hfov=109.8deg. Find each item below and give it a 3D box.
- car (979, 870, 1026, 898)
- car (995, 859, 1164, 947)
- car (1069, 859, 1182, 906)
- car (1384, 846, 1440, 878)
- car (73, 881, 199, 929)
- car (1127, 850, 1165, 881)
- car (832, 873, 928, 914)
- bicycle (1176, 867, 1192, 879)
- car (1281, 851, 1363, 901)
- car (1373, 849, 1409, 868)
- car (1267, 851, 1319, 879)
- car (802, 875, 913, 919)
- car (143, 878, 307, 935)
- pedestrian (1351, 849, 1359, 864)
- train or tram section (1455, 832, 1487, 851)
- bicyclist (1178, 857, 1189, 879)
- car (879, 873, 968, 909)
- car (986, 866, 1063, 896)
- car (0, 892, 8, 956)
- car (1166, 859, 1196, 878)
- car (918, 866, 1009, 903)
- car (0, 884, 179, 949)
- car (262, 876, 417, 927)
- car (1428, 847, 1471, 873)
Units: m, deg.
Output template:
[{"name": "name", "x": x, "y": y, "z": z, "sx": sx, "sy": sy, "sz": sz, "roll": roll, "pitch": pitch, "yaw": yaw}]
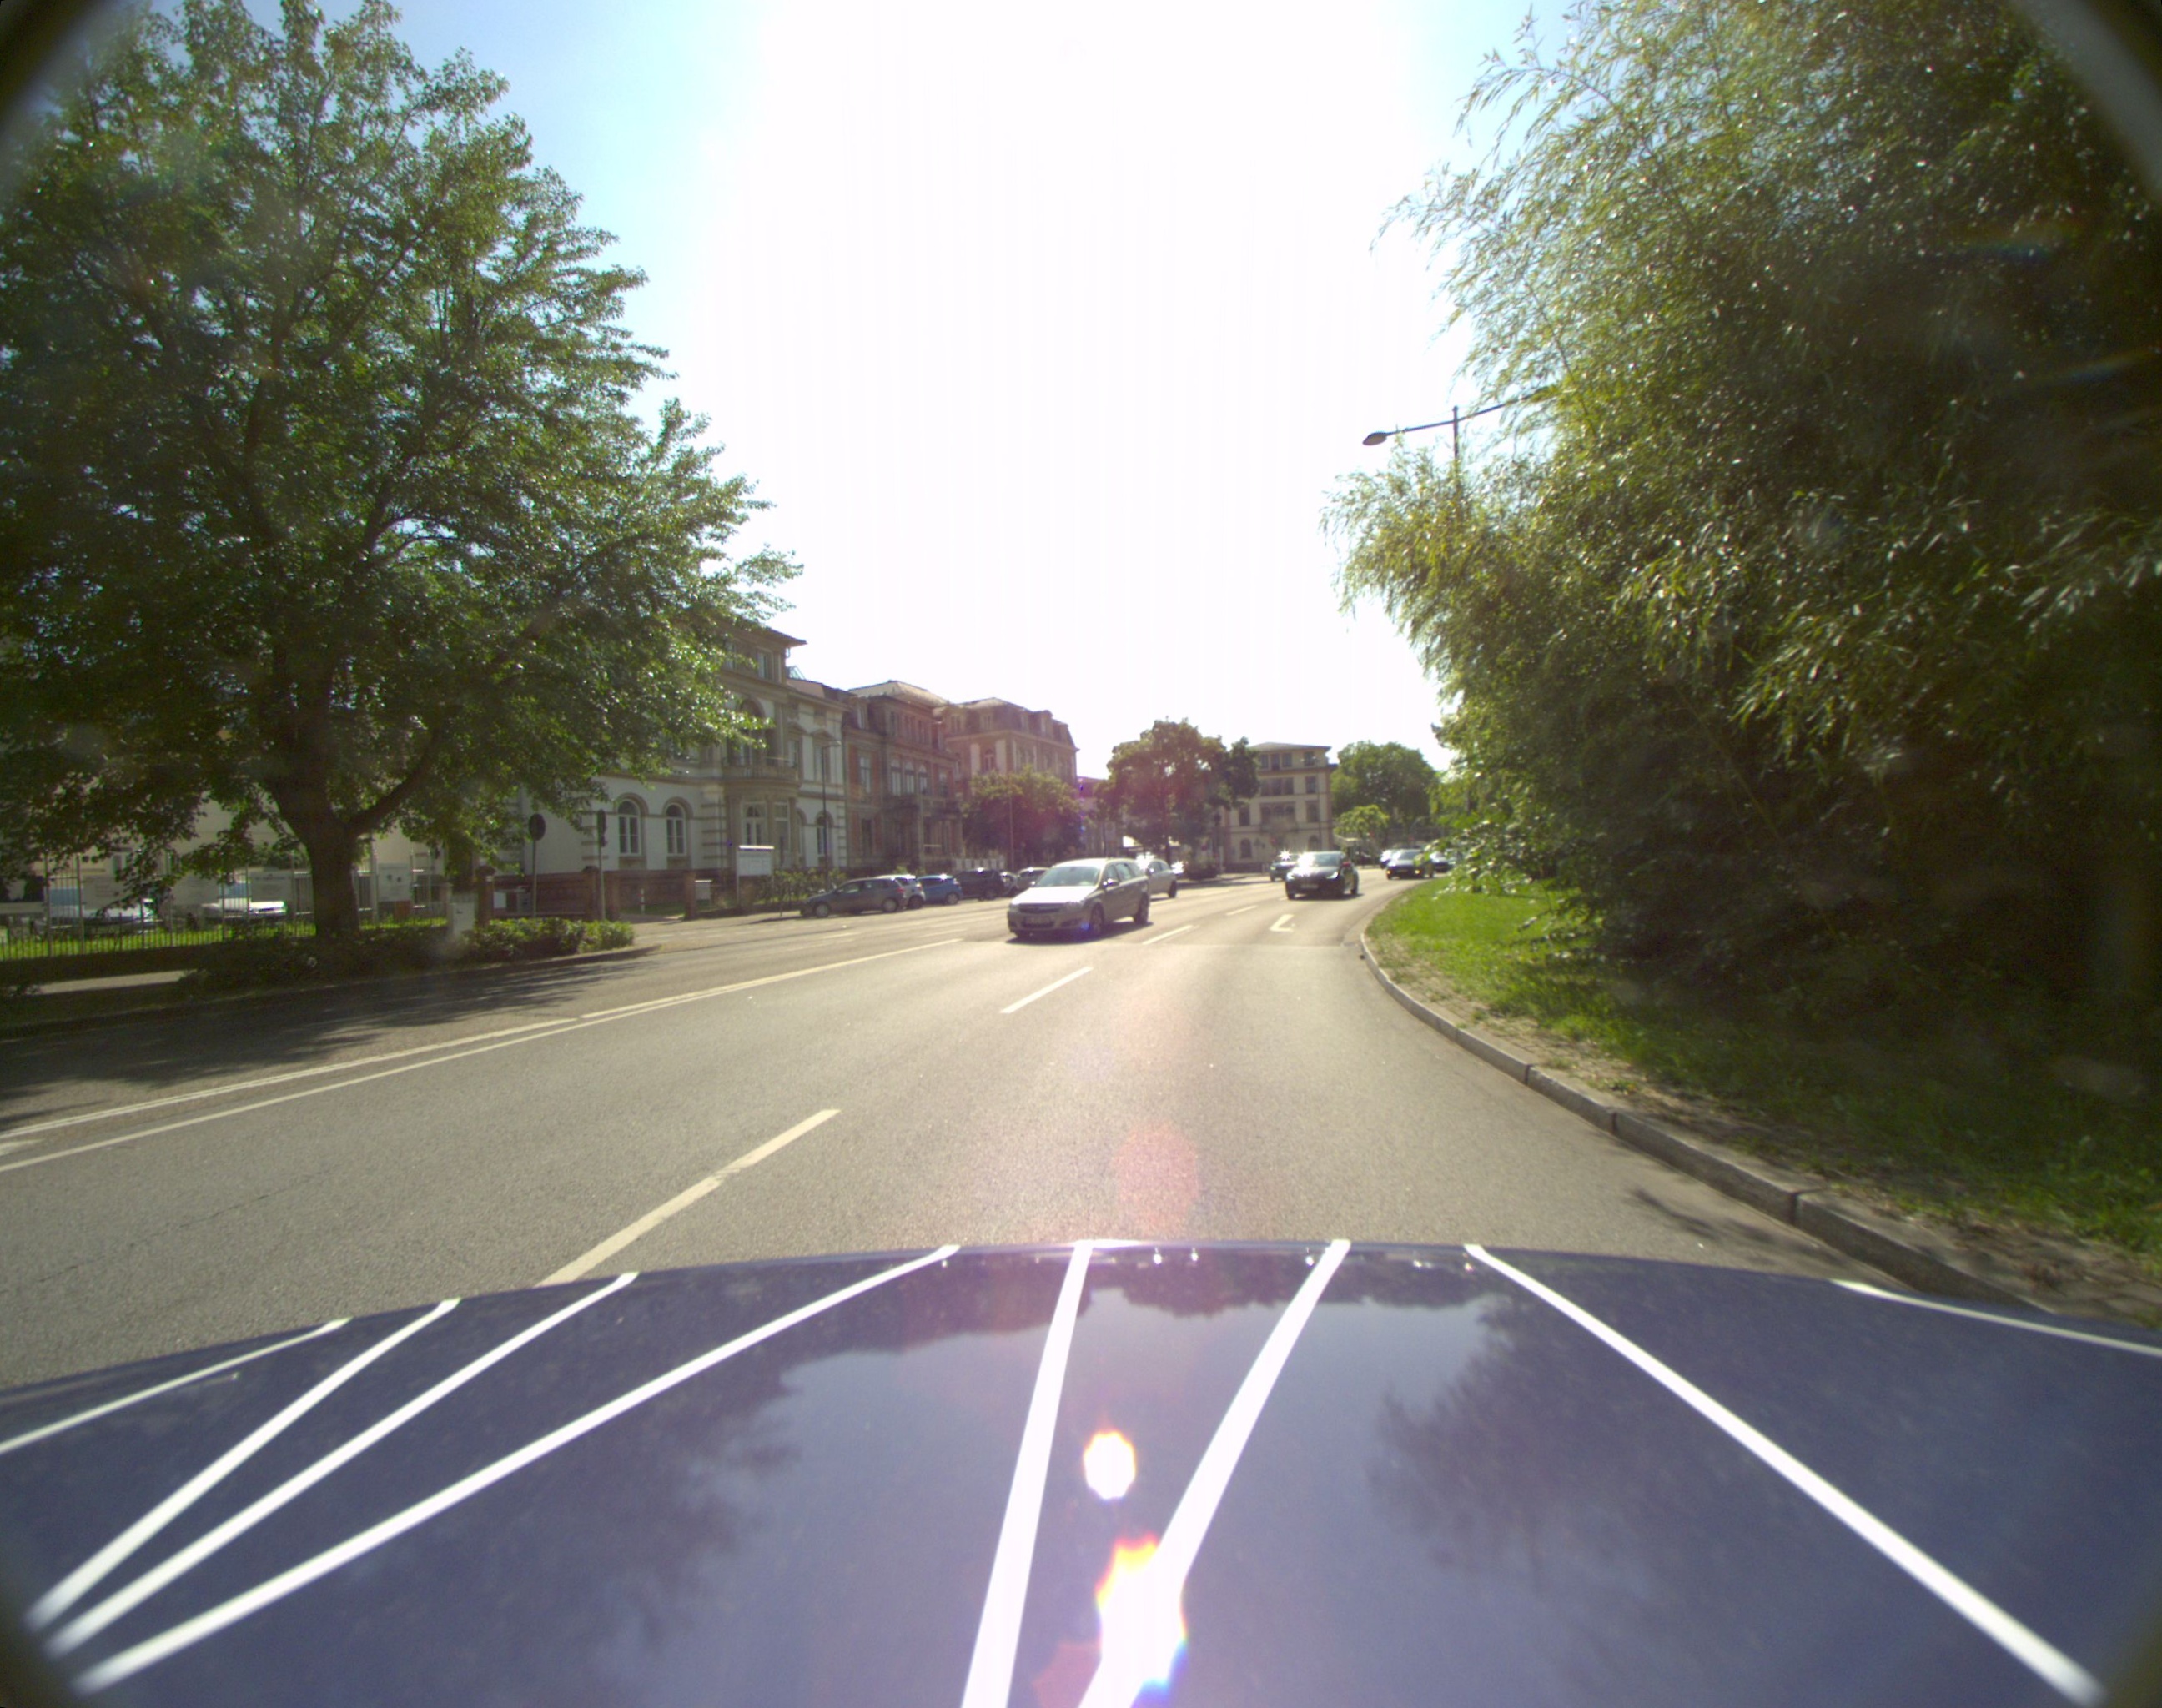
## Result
[{"name": "car", "x": -4.477, "y": 1.703, "z": 43.429, "sx": 2.292, "sy": 1.474, "sz": 1.199, "roll": -3, "pitch": -1, "yaw": -28}, {"name": "car", "x": 0.161, "y": 0.901, "z": 15.821, "sx": 1.716, "sy": 1.491, "sz": 4.498, "roll": -2, "pitch": 0, "yaw": 25}, {"name": "car", "x": 1.668, "y": 0.936, "z": 26.609, "sx": 1.995, "sy": 1.429, "sz": 4.761, "roll": -2, "pitch": -1, "yaw": 29}, {"name": "car", "x": 16.872, "y": 0.383, "z": 38.641, "sx": 1.787, "sy": 1.484, "sz": 4.096, "roll": -1, "pitch": 0, "yaw": 35}, {"name": "car", "x": -33.151, "y": 1.784, "z": 26.652, "sx": 4.053, "sy": 1.500, "sz": 1.869, "roll": -2, "pitch": 0, "yaw": 26}, {"name": "car", "x": 5.786, "y": 0.990, "z": 67.140, "sx": 1.996, "sy": 2.588, "sz": 5.326, "roll": -3, "pitch": -1, "yaw": 19}, {"name": "car", "x": -8.781, "y": 1.707, "z": 33.136, "sx": 3.815, "sy": 1.502, "sz": 1.711, "roll": -3, "pitch": -1, "yaw": -22}, {"name": "bicycle", "x": 7.991, "y": 1.448, "z": 58.896, "sx": 0.592, "sy": 0.849, "sz": 1.748, "roll": -3, "pitch": -1, "yaw": 26}, {"name": "car", "x": 8.006, "y": 0.667, "z": 24.973, "sx": 1.788, "sy": 1.443, "sz": 4.288, "roll": -1, "pitch": 0, "yaw": 28}, {"name": "car", "x": 25.572, "y": 0.384, "z": 62.621, "sx": 1.787, "sy": 1.452, "sz": 4.096, "roll": -1, "pitch": 0, "yaw": 37}, {"name": "car", "x": 12.490, "y": 0.613, "z": 44.575, "sx": 1.787, "sy": 1.503, "sz": 4.289, "roll": -1, "pitch": 0, "yaw": 32}, {"name": "car", "x": -8.976, "y": 1.705, "z": 30.612, "sx": 4.110, "sy": 1.452, "sz": 1.825, "roll": -3, "pitch": -1, "yaw": -18}, {"name": "car", "x": -22.964, "y": 1.408, "z": 20.374, "sx": 4.044, "sy": 1.328, "sz": 1.864, "roll": -2, "pitch": 0, "yaw": 26}, {"name": "pedestrian", "x": 33.904, "y": 0.279, "z": 94.017, "sx": 0.725, "sy": 1.794, "sz": 0.653, "roll": -3, "pitch": 0, "yaw": 15}, {"name": "train or tram section", "x": 75.663, "y": -2.320, "z": 147.683, "sx": 2.731, "sy": 3.248, "sz": 8.743, "roll": -3, "pitch": -1, "yaw": 8}, {"name": "bicyclist", "x": 7.956, "y": 1.080, "z": 58.883, "sx": 0.592, "sy": 1.596, "sz": 0.685, "roll": -3, "pitch": 0, "yaw": 26}, {"name": "car", "x": -7.478, "y": 1.722, "z": 36.128, "sx": 3.816, "sy": 1.433, "sz": 1.711, "roll": -3, "pitch": -1, "yaw": -25}, {"name": "car", "x": -3.472, "y": 1.648, "z": 46.724, "sx": 4.320, "sy": 1.620, "sz": 1.711, "roll": -3, "pitch": -1, "yaw": -22}, {"name": "car", "x": -24.877, "y": 1.551, "z": 16.045, "sx": 4.470, "sy": 1.328, "sz": 1.825, "roll": -2, "pitch": 0, "yaw": 26}, {"name": "car", "x": 9.180, "y": 1.285, "z": 69.427, "sx": 1.819, "sy": 1.616, "sz": 4.886, "roll": -3, "pitch": -1, "yaw": 18}, {"name": "car", "x": -6.143, "y": 1.579, "z": 39.749, "sx": 4.279, "sy": 1.686, "sz": 1.711, "roll": -3, "pitch": -1, "yaw": -25}, {"name": "car", "x": -23.895, "y": 1.479, "z": 18.287, "sx": 4.088, "sy": 1.328, "sz": 1.825, "roll": -2, "pitch": 0, "yaw": 26}, {"name": "car", "x": -21.891, "y": 1.399, "z": 22.431, "sx": 4.044, "sy": 1.328, "sz": 1.995, "roll": -2, "pitch": 0, "yaw": 26}, {"name": "car", "x": 22.894, "y": 0.359, "z": 47.096, "sx": 1.787, "sy": 1.461, "sz": 4.096, "roll": -1, "pitch": 0, "yaw": 35}]
